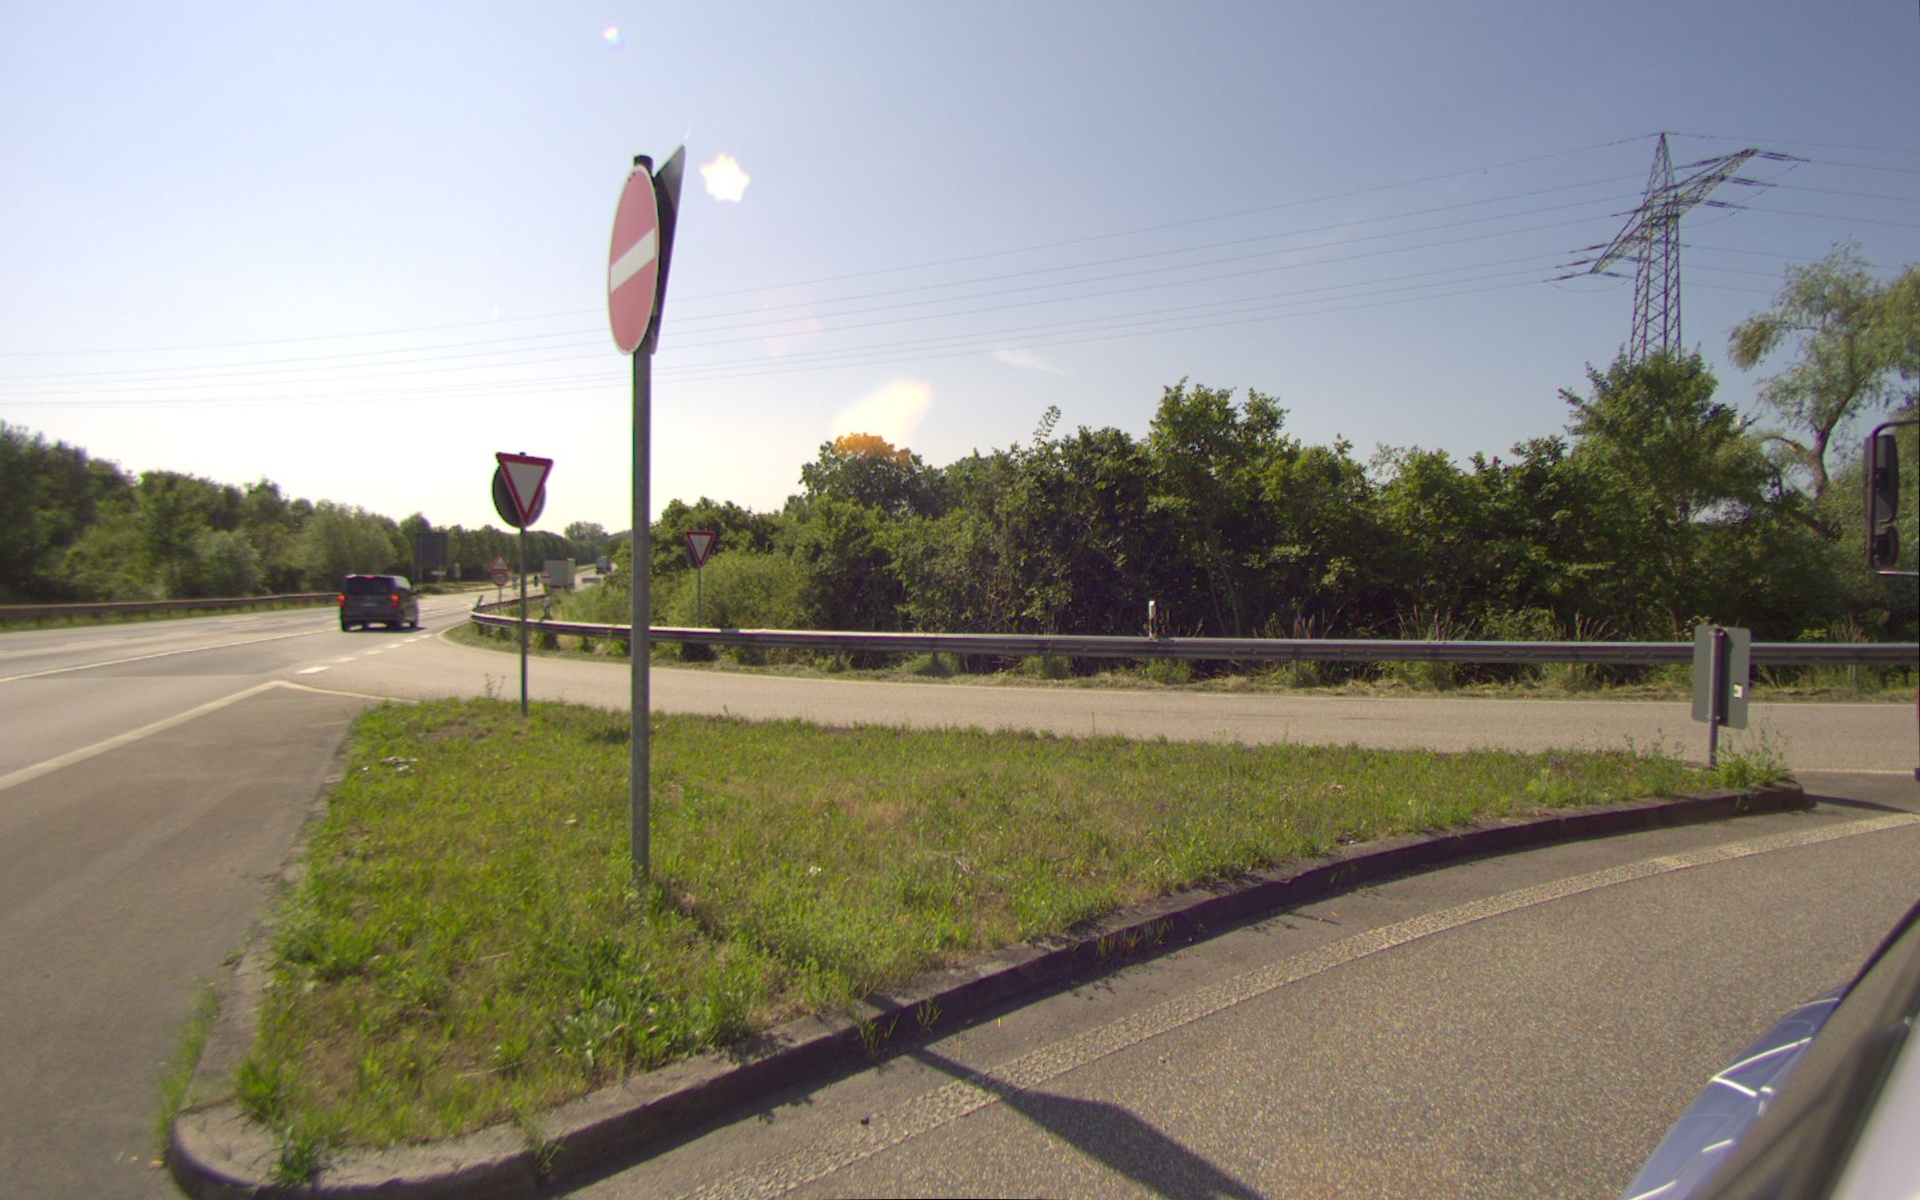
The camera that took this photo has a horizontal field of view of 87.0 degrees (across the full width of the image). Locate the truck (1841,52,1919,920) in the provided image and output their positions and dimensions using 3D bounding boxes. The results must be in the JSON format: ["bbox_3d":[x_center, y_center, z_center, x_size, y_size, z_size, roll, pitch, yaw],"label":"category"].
[{"bbox_3d":[8.661,-0.478,5.238,9.070,3.707,2.696,0,0,-25],"label":"truck"}]

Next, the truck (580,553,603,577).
[{"bbox_3d":[-89.372,-8.396,245.499,4.051,5.524,13.635,0,1,-15],"label":"truck"}]

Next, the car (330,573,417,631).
[{"bbox_3d":[-20.918,0.053,36.297,1.958,1.903,5.004,0,0,-21],"label":"car"}]

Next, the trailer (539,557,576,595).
[{"bbox_3d":[-46.929,-2.822,118.336,2.868,4.060,13.447,2,1,-17],"label":"trailer"}]
